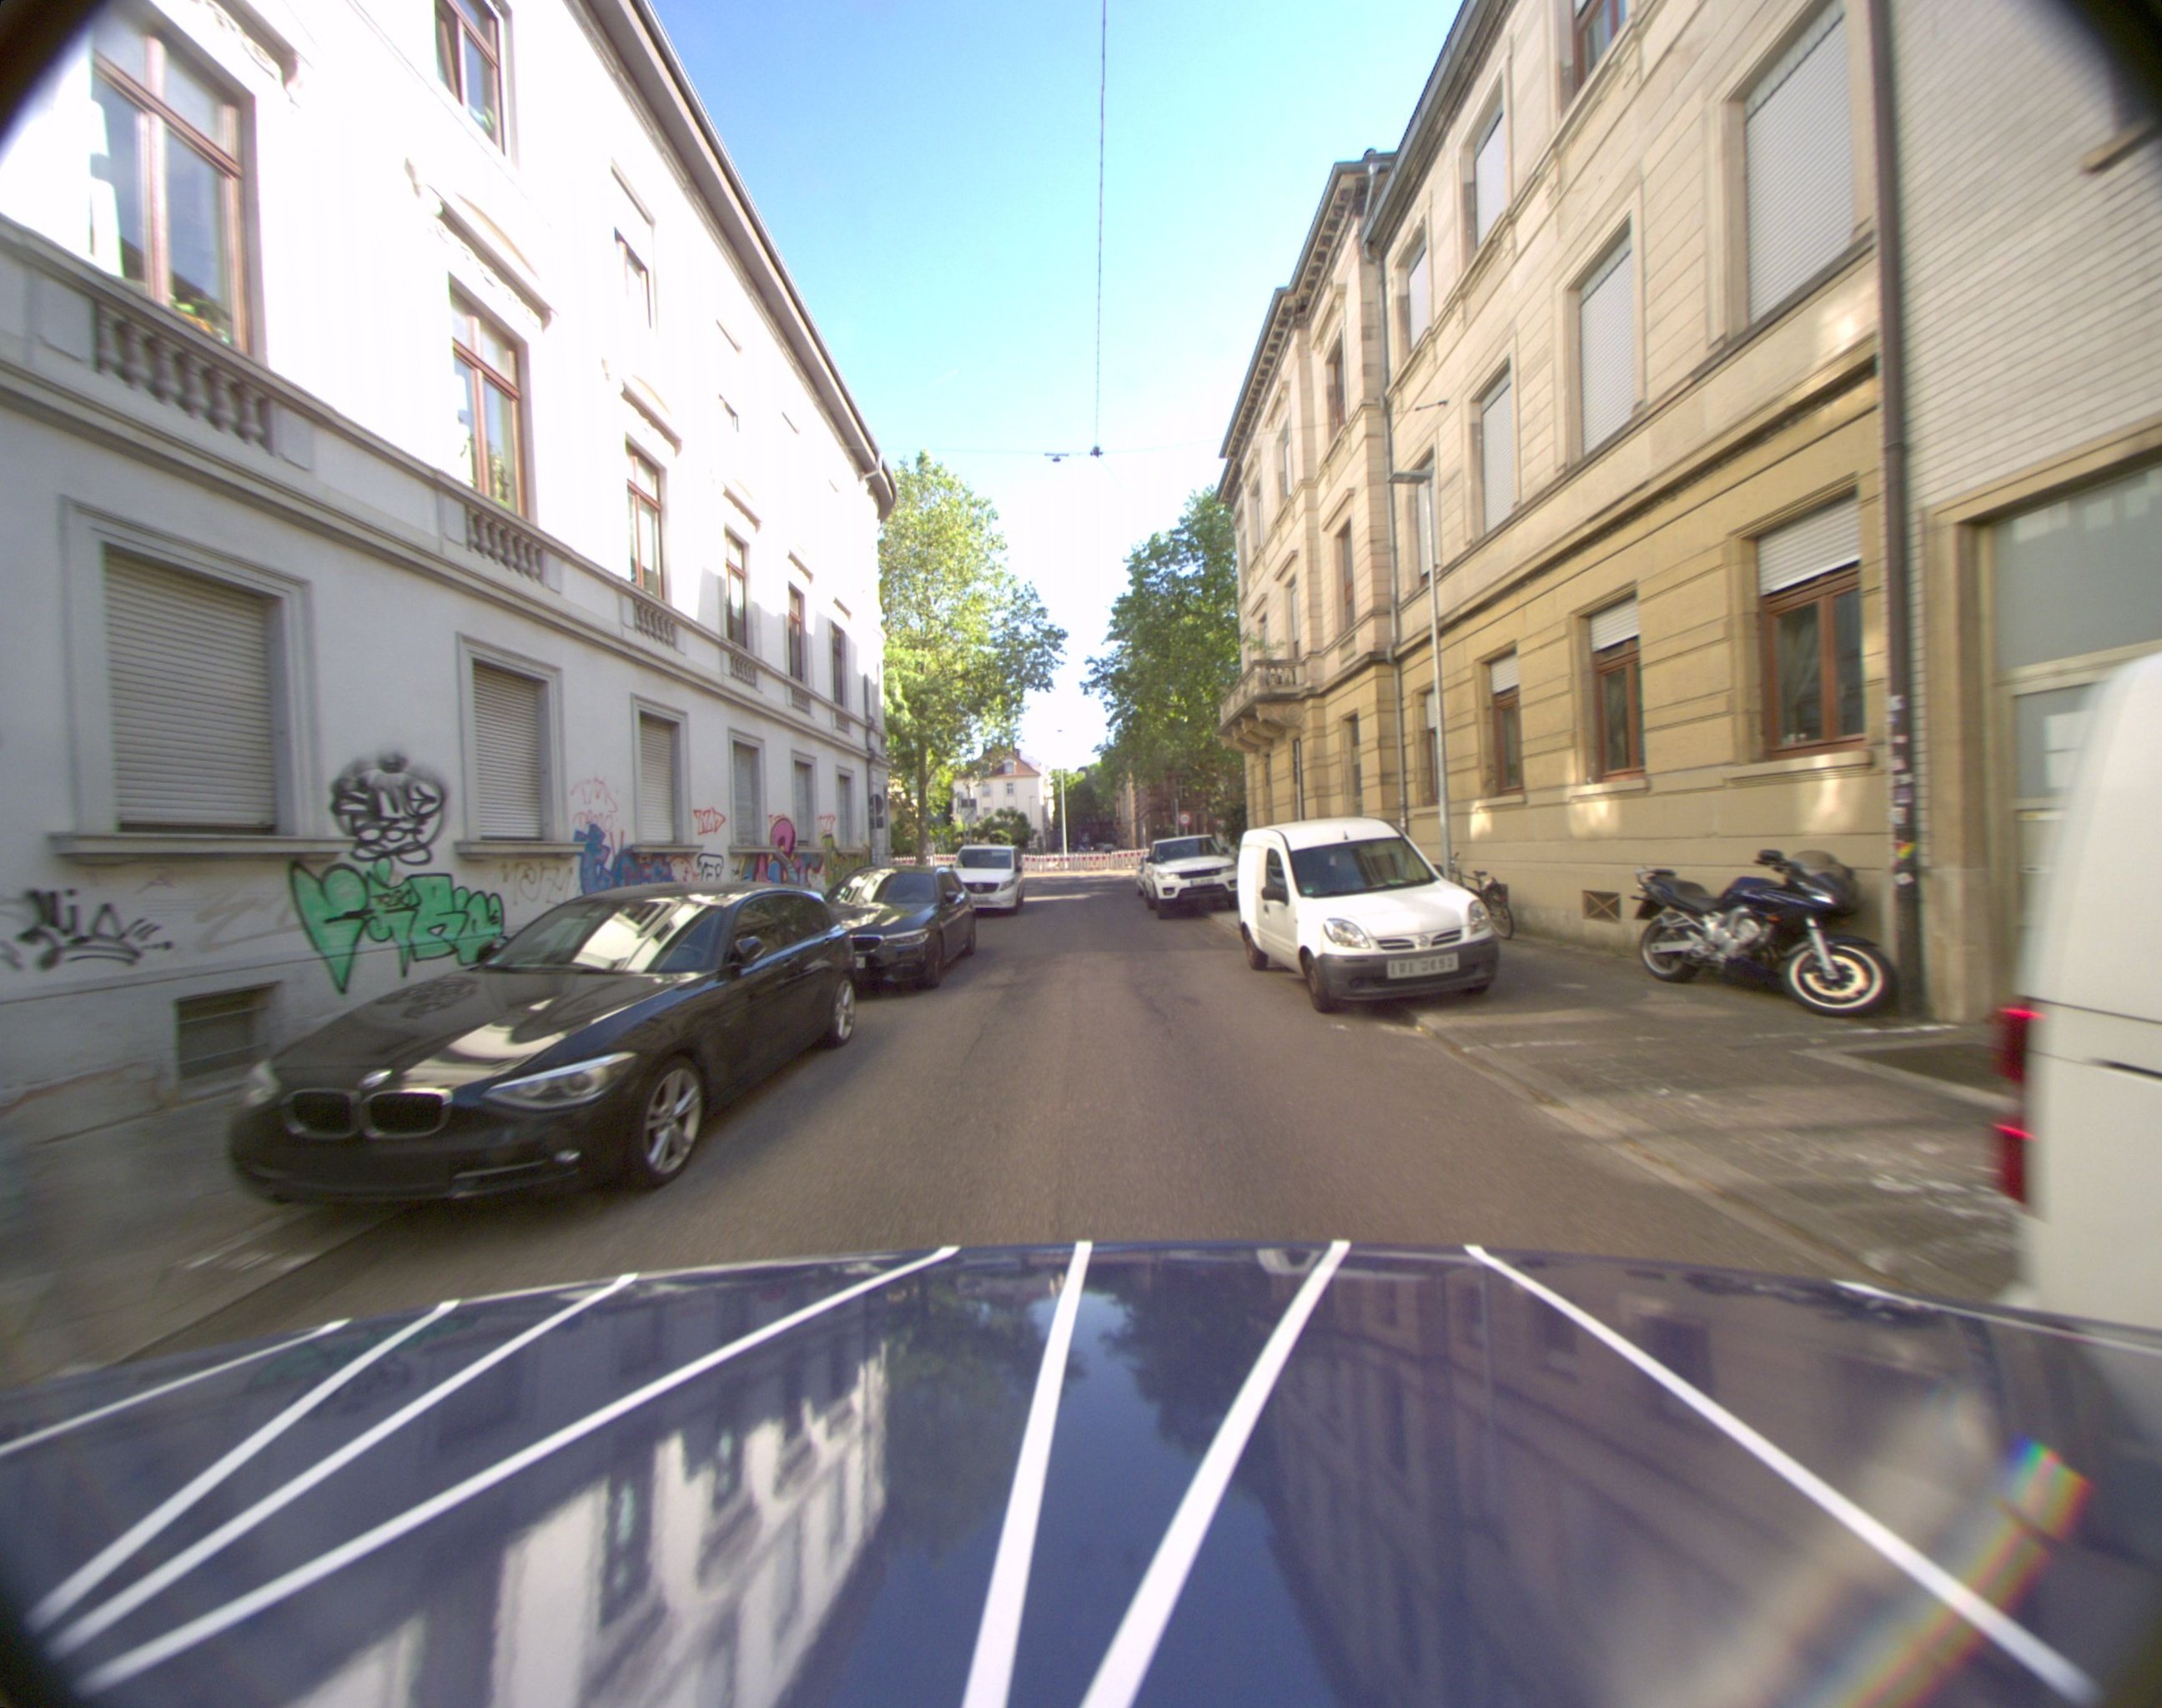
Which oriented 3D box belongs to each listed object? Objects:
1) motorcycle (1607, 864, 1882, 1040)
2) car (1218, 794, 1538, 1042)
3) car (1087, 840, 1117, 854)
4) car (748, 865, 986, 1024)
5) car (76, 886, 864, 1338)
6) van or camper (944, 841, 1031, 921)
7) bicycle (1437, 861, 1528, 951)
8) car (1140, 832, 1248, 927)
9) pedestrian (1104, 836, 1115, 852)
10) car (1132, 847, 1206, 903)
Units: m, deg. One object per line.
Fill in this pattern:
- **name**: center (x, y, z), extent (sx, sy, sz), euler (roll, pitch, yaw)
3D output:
- **motorcycle**: center (5.396, 0.703, 6.396), extent (0.434, 1.179, 2.121), euler (-3, 1, 0)
- **car**: center (2.804, 0.526, 8.259), extent (1.749, 1.865, 4.090), euler (-6, 0, 1)
- **car**: center (2.700, -0.928, 98.804), extent (3.800, 1.726, 1.622), euler (-2, 1, 0)
- **car**: center (-2.593, 1.012, 10.525), extent (1.819, 1.511, 4.727), euler (-4, 0, 1)
- **car**: center (-2.874, 1.067, 4.823), extent (1.751, 1.440, 3.869), euler (-4, 0, 1)
- **van or camper**: center (-2.570, 0.694, 22.084), extent (1.899, 2.002, 5.030), euler (-2, 0, -1)
- **bicycle**: center (5.562, 0.678, 10.610), extent (0.434, 1.119, 1.508), euler (-3, 1, 0)
- **car**: center (2.646, 0.534, 18.928), extent (2.027, 2.002, 4.542), euler (-2, 1, 1)
- **pedestrian**: center (3.096, -1.100, 82.614), extent (0.761, 1.651, 0.826), euler (-3, 1, -27)
- **car**: center (2.857, 0.622, 25.420), extent (1.872, 1.552, 3.941), euler (-4, 1, -1)
